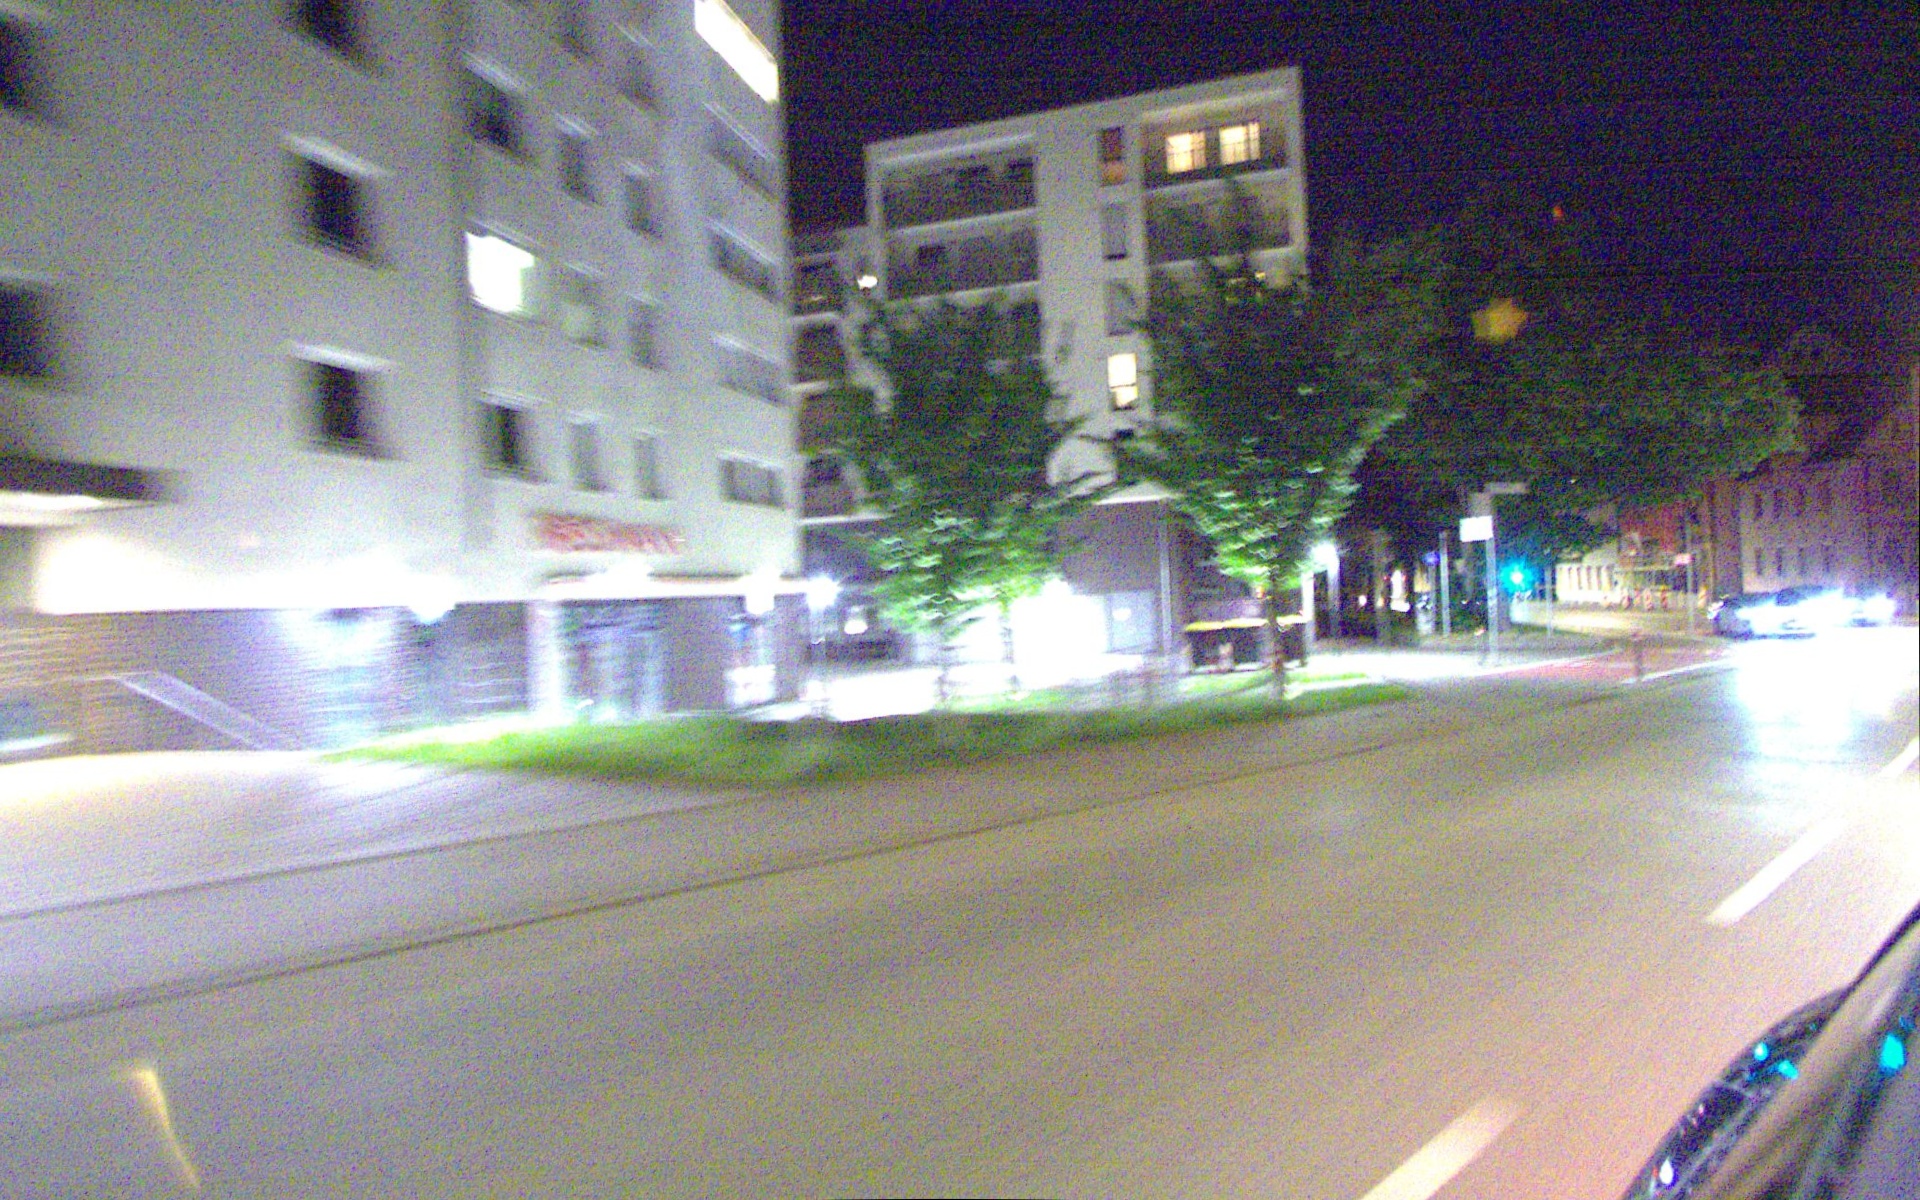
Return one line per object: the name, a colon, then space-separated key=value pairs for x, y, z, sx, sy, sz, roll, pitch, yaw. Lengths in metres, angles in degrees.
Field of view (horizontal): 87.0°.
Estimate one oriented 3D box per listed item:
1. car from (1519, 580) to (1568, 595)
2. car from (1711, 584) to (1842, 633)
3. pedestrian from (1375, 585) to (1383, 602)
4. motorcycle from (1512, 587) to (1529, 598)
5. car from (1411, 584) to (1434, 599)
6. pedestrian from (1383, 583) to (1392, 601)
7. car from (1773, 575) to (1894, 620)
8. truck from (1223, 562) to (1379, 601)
car: x=68.469 y=-1.452 z=118.826 sx=4.607 sy=1.649 sz=1.995 roll=-1 pitch=1 yaw=15
car: x=26.906 y=0.235 z=33.546 sx=1.706 sy=1.448 sz=4.475 roll=-3 pitch=0 yaw=16
pedestrian: x=41.420 y=-0.681 z=100.044 sx=0.614 sy=1.659 sz=0.675 roll=-2 pitch=0 yaw=17
motorcycle: x=58.724 y=-0.774 z=106.087 sx=0.562 sy=1.194 sz=2.032 roll=-2 pitch=0 yaw=-1
car: x=53.166 y=-1.028 z=116.410 sx=1.974 sy=1.656 sz=3.975 roll=-1 pitch=0 yaw=19
pedestrian: x=42.313 y=-0.787 z=100.190 sx=0.615 sy=1.834 sz=0.755 roll=-2 pitch=0 yaw=17
car: x=31.328 y=-0.117 z=36.448 sx=1.705 sy=1.481 sz=3.982 roll=-1 pitch=1 yaw=15
truck: x=38.872 y=-2.055 z=116.129 sx=16.599 sy=4.034 sz=3.116 roll=-1 pitch=1 yaw=17
